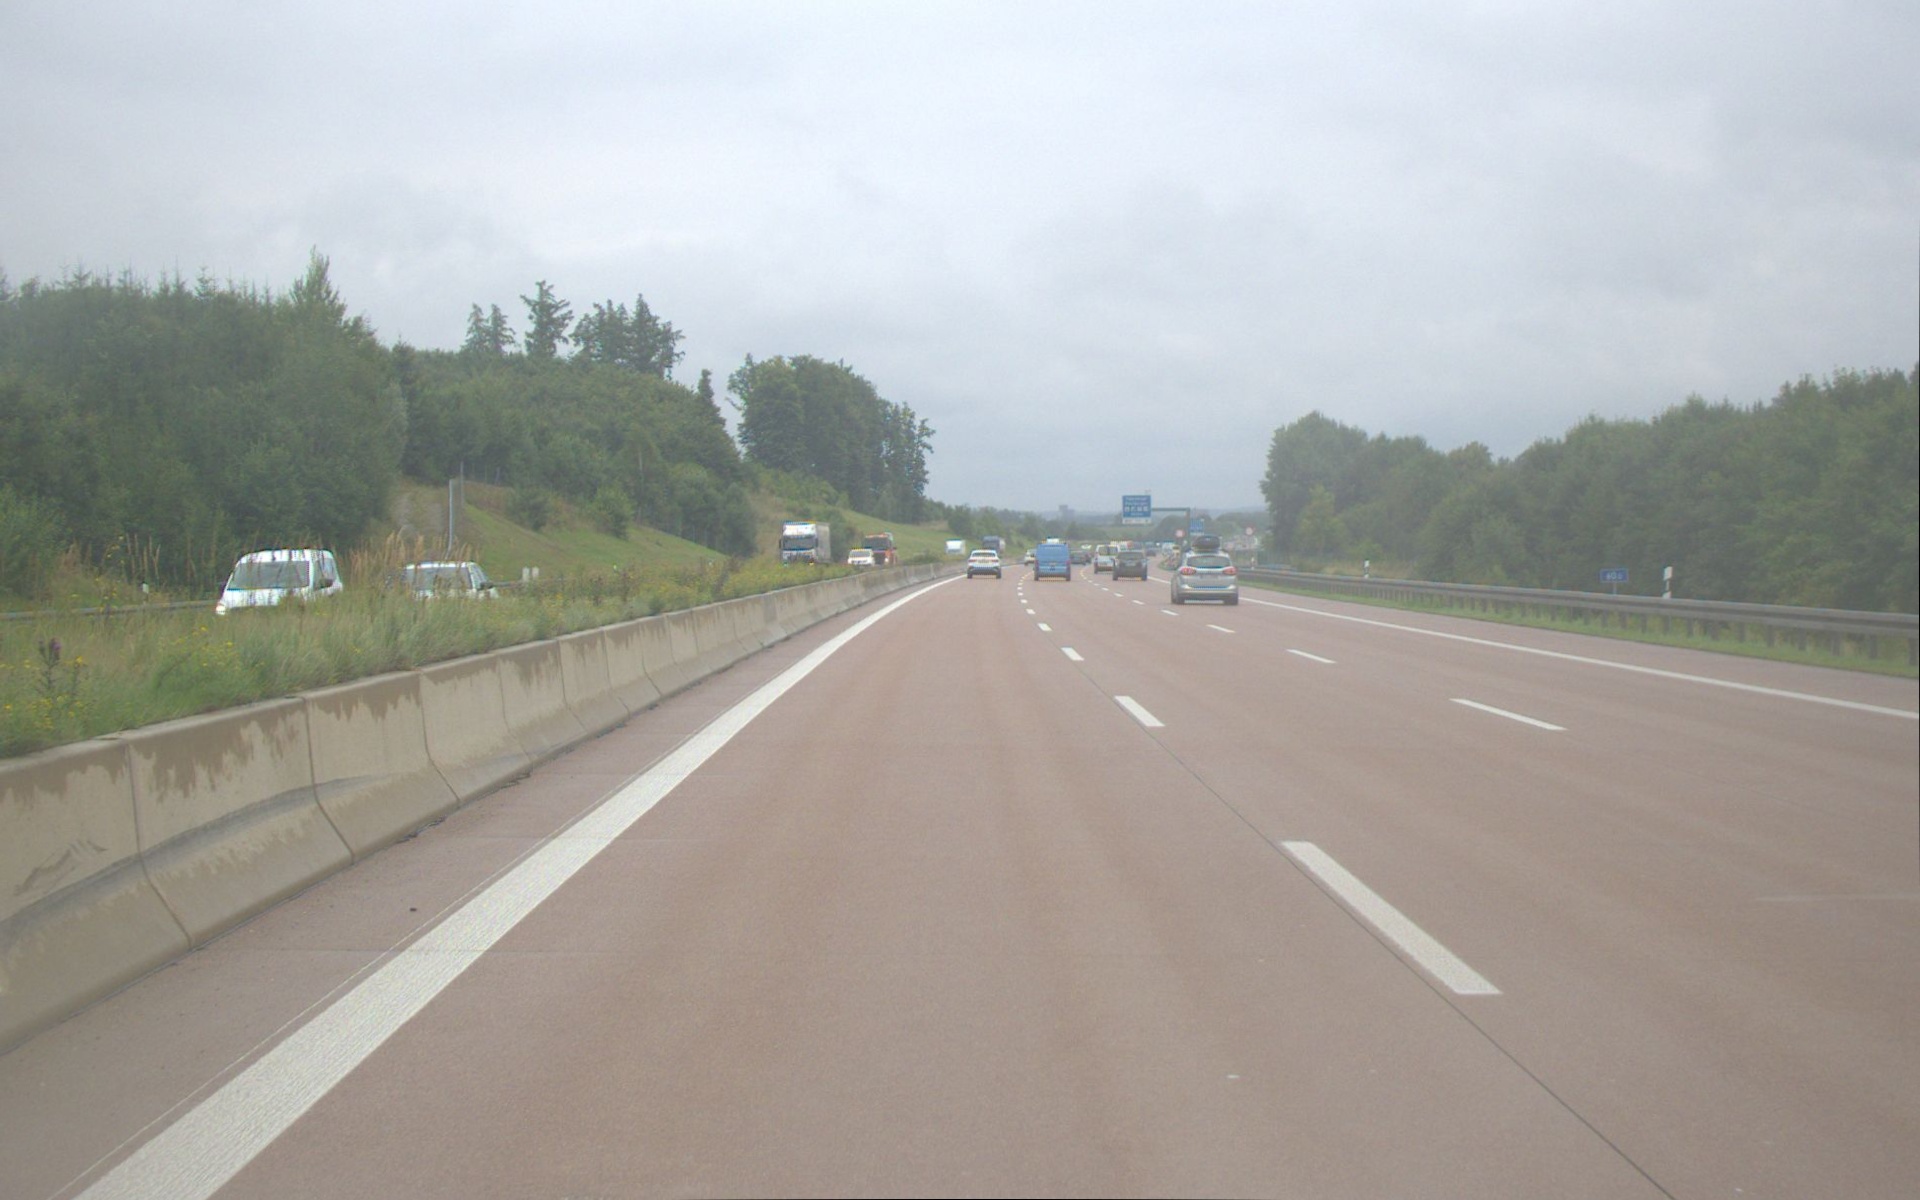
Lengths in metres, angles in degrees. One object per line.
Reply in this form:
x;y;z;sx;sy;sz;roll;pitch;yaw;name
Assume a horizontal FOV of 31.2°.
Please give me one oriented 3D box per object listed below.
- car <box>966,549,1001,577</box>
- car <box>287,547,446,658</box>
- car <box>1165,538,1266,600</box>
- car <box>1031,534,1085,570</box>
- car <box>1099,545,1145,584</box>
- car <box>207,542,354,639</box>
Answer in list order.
1.275;-2.006;188.251;1.874;1.439;4.877;1;0;0;car
-9.258;0.050;53.934;1.678;1.641;4.445;1;0;0;car
7.505;-0.886;101.343;2.322;1.744;4.877;1;0;-3;car
5.019;-2.440;176.685;2.322;1.744;4.877;1;0;-3;car
8.607;-1.883;182.866;1.993;2.007;4.000;1;0;-3;car
-12.601;-0.163;64.005;1.733;1.716;4.762;1;0;0;car
